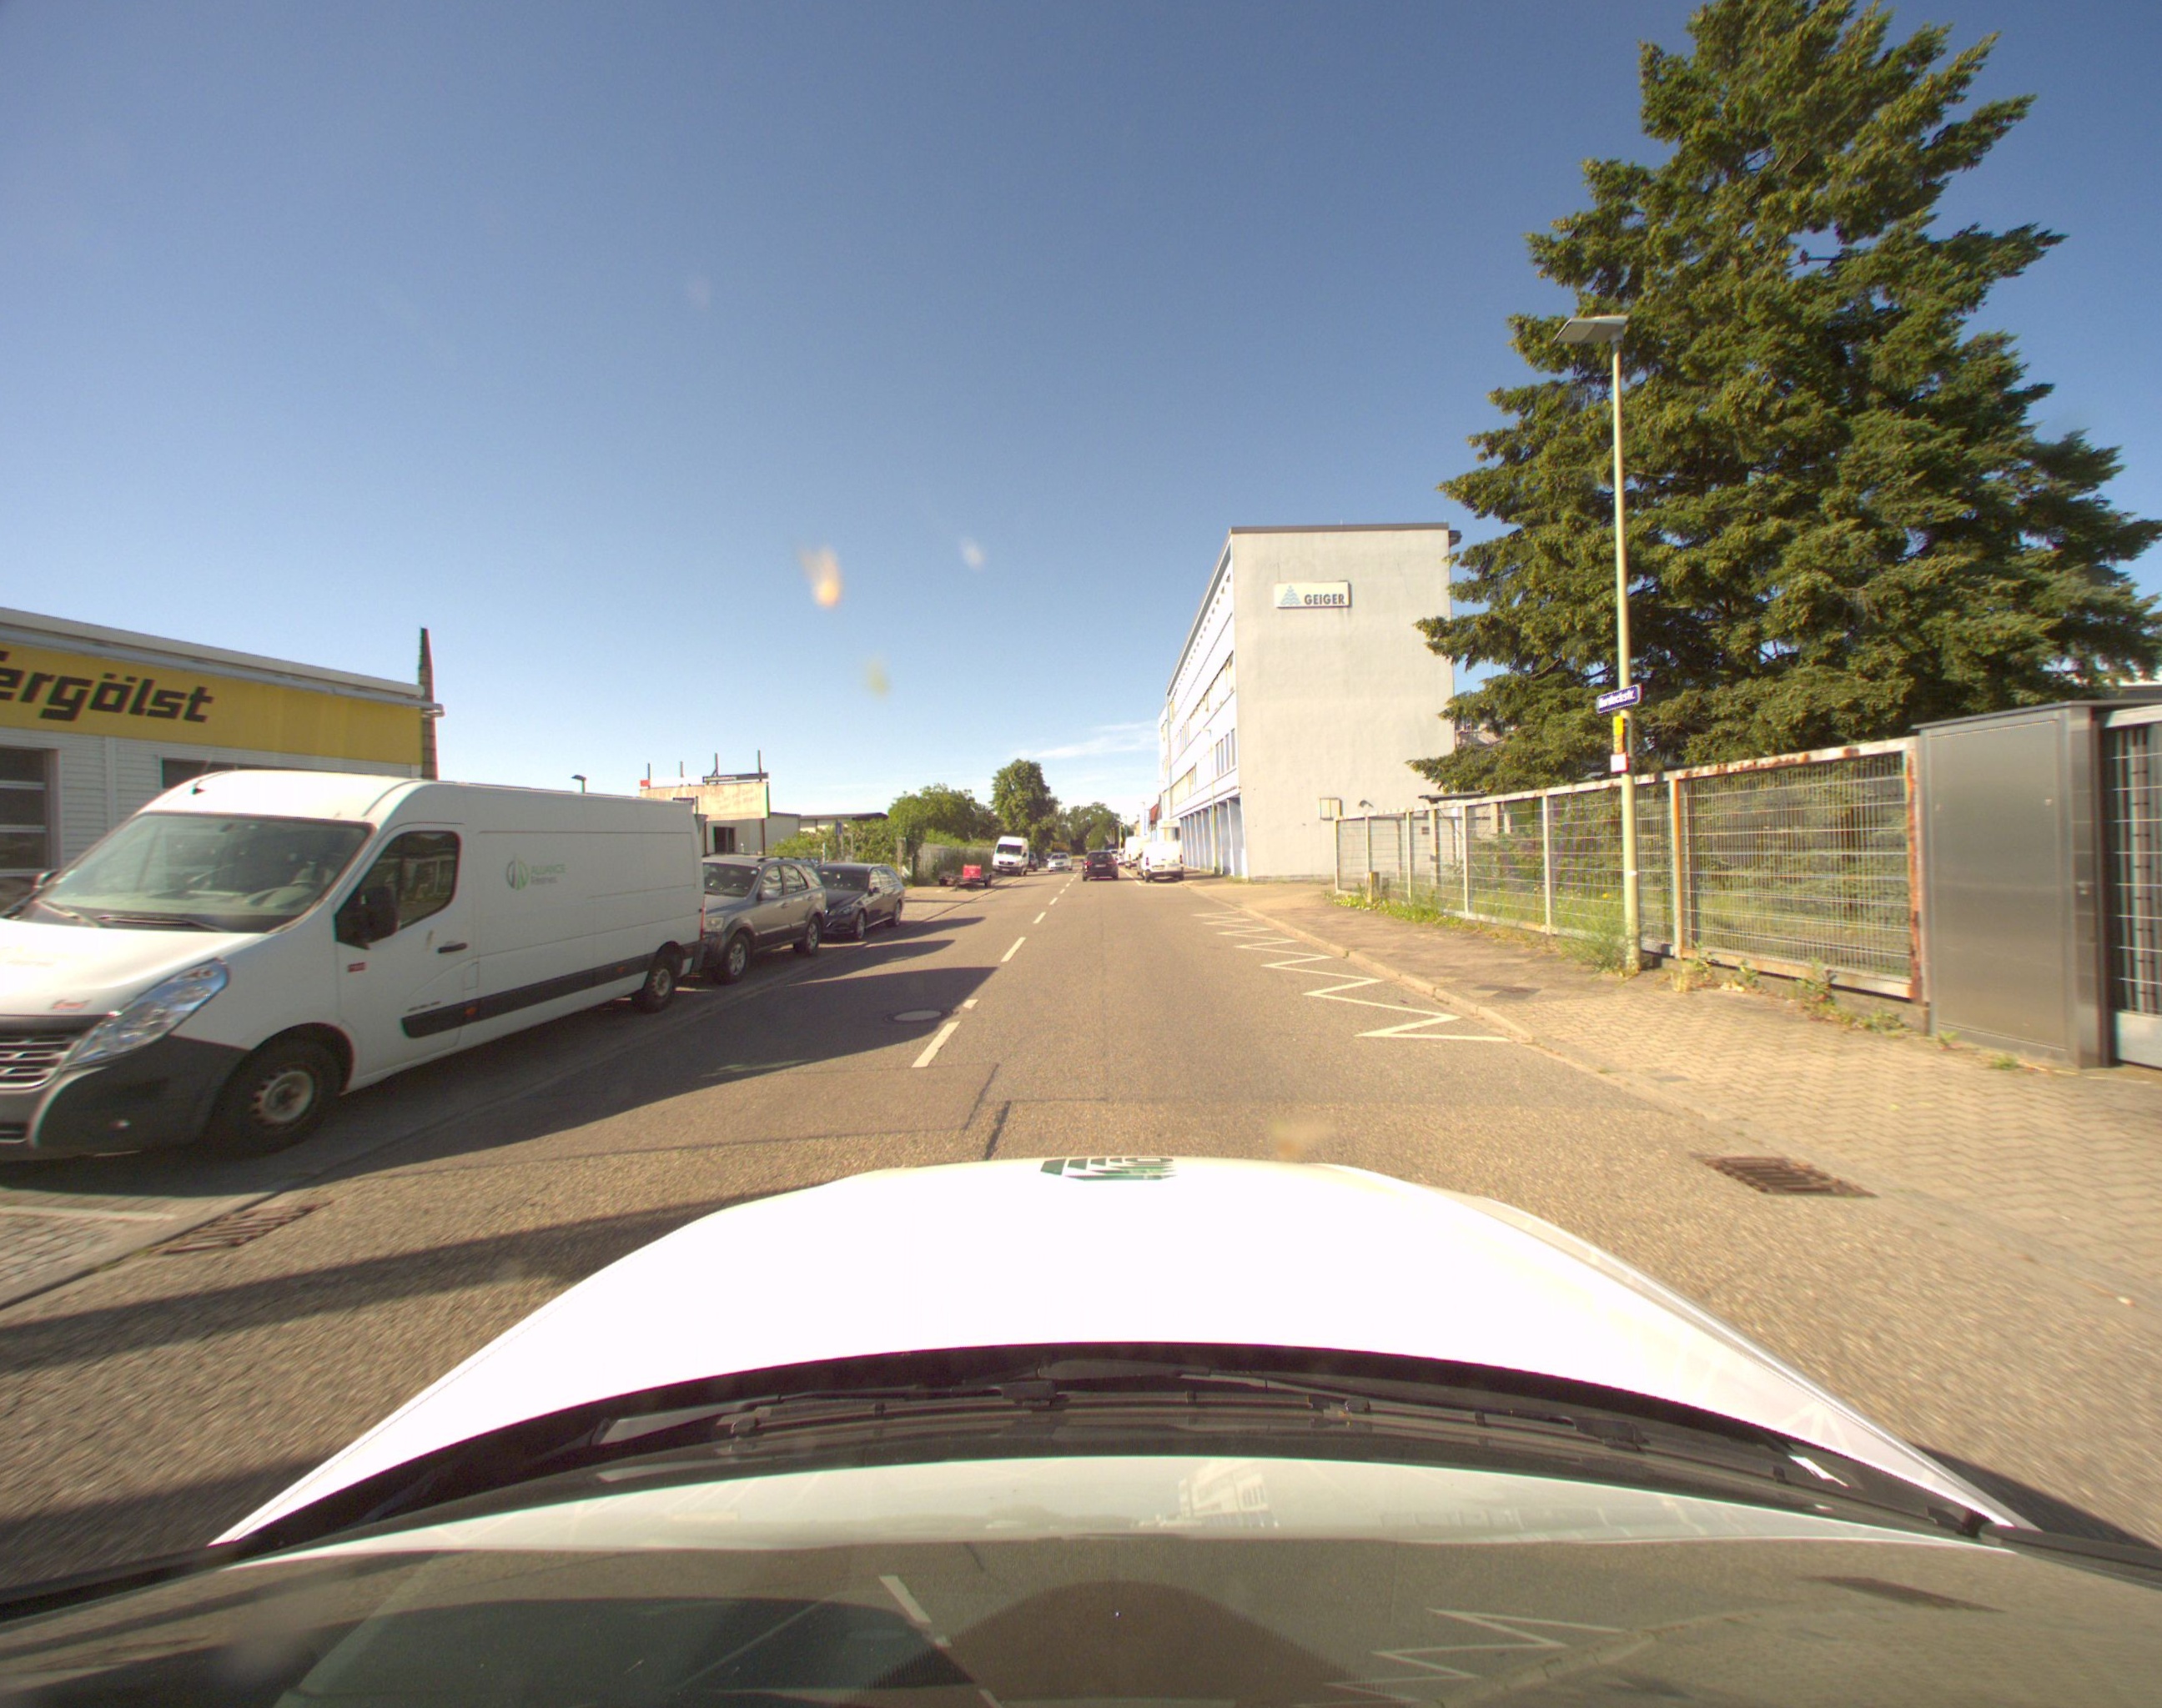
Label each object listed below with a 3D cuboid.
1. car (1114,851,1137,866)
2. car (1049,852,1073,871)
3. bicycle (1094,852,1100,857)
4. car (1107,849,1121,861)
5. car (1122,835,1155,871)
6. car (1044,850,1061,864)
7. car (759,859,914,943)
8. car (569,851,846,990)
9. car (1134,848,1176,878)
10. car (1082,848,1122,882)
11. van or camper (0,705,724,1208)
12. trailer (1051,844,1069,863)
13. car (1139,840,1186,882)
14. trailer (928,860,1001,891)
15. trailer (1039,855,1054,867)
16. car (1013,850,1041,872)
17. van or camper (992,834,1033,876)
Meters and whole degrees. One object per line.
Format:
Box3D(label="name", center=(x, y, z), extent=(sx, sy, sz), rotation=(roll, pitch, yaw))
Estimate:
Box3D(label="car", center=(4.108, 0.435, 76.358), extent=(1.888, 1.405, 5.123), rotation=(0, -1, 0))
Box3D(label="car", center=(-1.546, 0.593, 65.188), extent=(1.741, 1.447, 4.361), rotation=(-1, 0, 1))
Box3D(label="bicycle", center=(3.755, 0.116, 194.148), extent=(0.806, 1.268, 2.245), rotation=(0, -1, -18))
Box3D(label="car", center=(4.842, 0.190, 120.711), extent=(1.880, 1.797, 5.102), rotation=(0, -1, 0))
Box3D(label="car", center=(4.532, -0.116, 64.748), extent=(1.987, 2.597, 6.049), rotation=(-3, 1, 0))
Box3D(label="car", center=(-3.807, 0.342, 108.668), extent=(1.784, 1.730, 4.805), rotation=(-2, 0, 2))
Box3D(label="car", center=(-5.219, 0.917, 18.210), extent=(1.793, 1.510, 5.004), rotation=(2, 0, 1))
Box3D(label="car", center=(-5.548, 0.855, 12.929), extent=(1.985, 1.738, 4.580), rotation=(2, 0, 4))
Box3D(label="car", center=(4.186, 0.490, 46.662), extent=(1.883, 1.560, 5.089), rotation=(-1, 0, 0))
Box3D(label="car", center=(1.040, 0.510, 40.670), extent=(1.840, 1.530, 4.001), rotation=(-2, 0, 1))
Box3D(label="van or camper", center=(-5.761, 0.480, 7.379), extent=(2.063, 2.549, 6.404), rotation=(2, 0, 1))
Box3D(label="trailer", center=(-3.800, -0.091, 149.737), extent=(2.982, 3.443, 8.158), rotation=(-2, 0, -1))
Box3D(label="car", center=(3.837, 0.321, 38.952), extent=(1.882, 1.832, 5.093), rotation=(-1, 0, 2))
Box3D(label="trailer", center=(-5.216, 0.953, 37.529), extent=(2.368, 1.080, 6.246), rotation=(2, 1, 0))
Box3D(label="trailer", center=(-3.821, 0.742, 90.650), extent=(1.471, 1.354, 3.079), rotation=(0, 0, 1))
Box3D(label="car", center=(-4.538, 0.560, 69.423), extent=(2.024, 1.694, 5.105), rotation=(2, 0, -1))
Box3D(label="van or camper", center=(-4.670, 0.054, 56.317), extent=(1.958, 2.685, 5.951), rotation=(3, 0, 2))
